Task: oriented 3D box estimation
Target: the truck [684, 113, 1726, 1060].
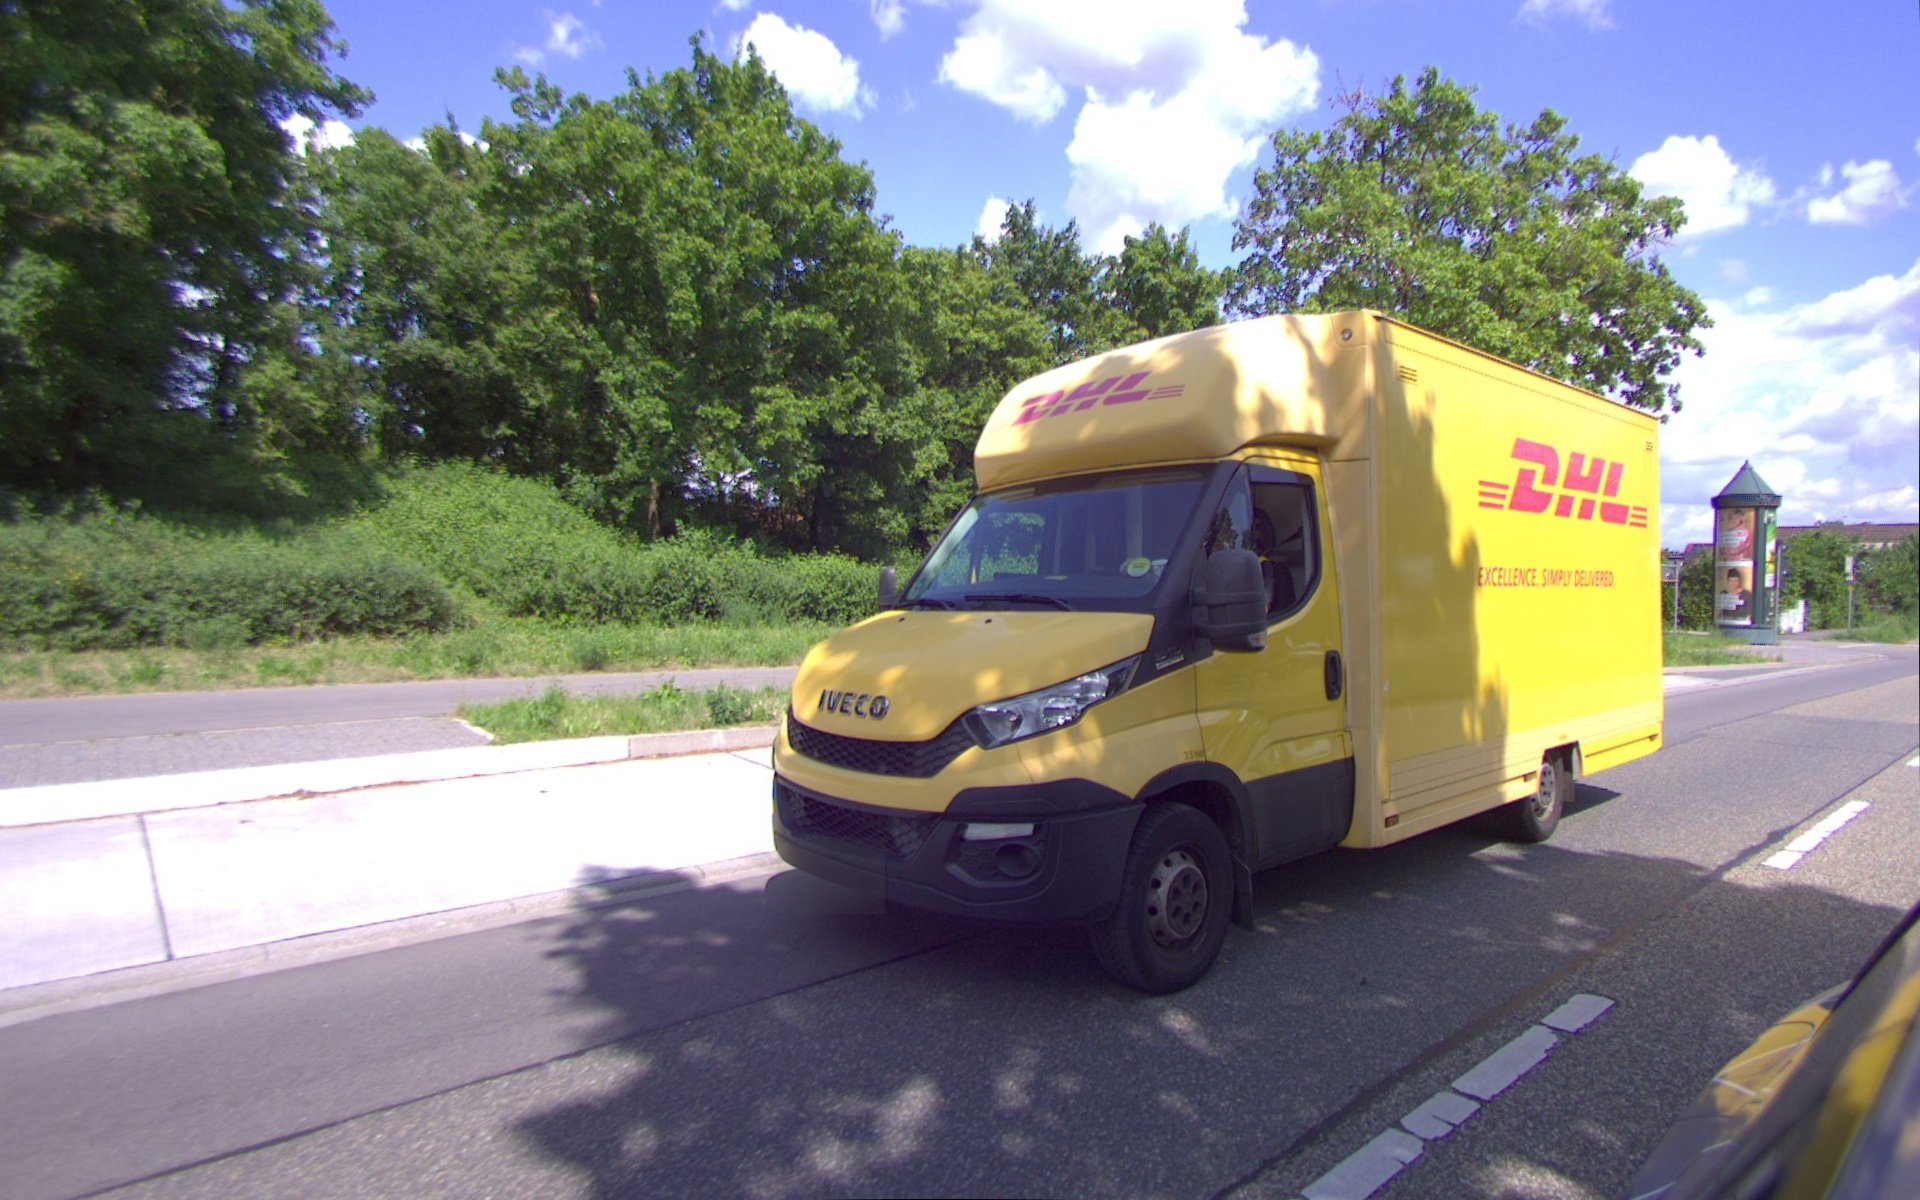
[{"bbox_3d":[2.424,-0.039,6.518,7.884,2.917,2.269,0,0,-40],"label":"truck"}]
